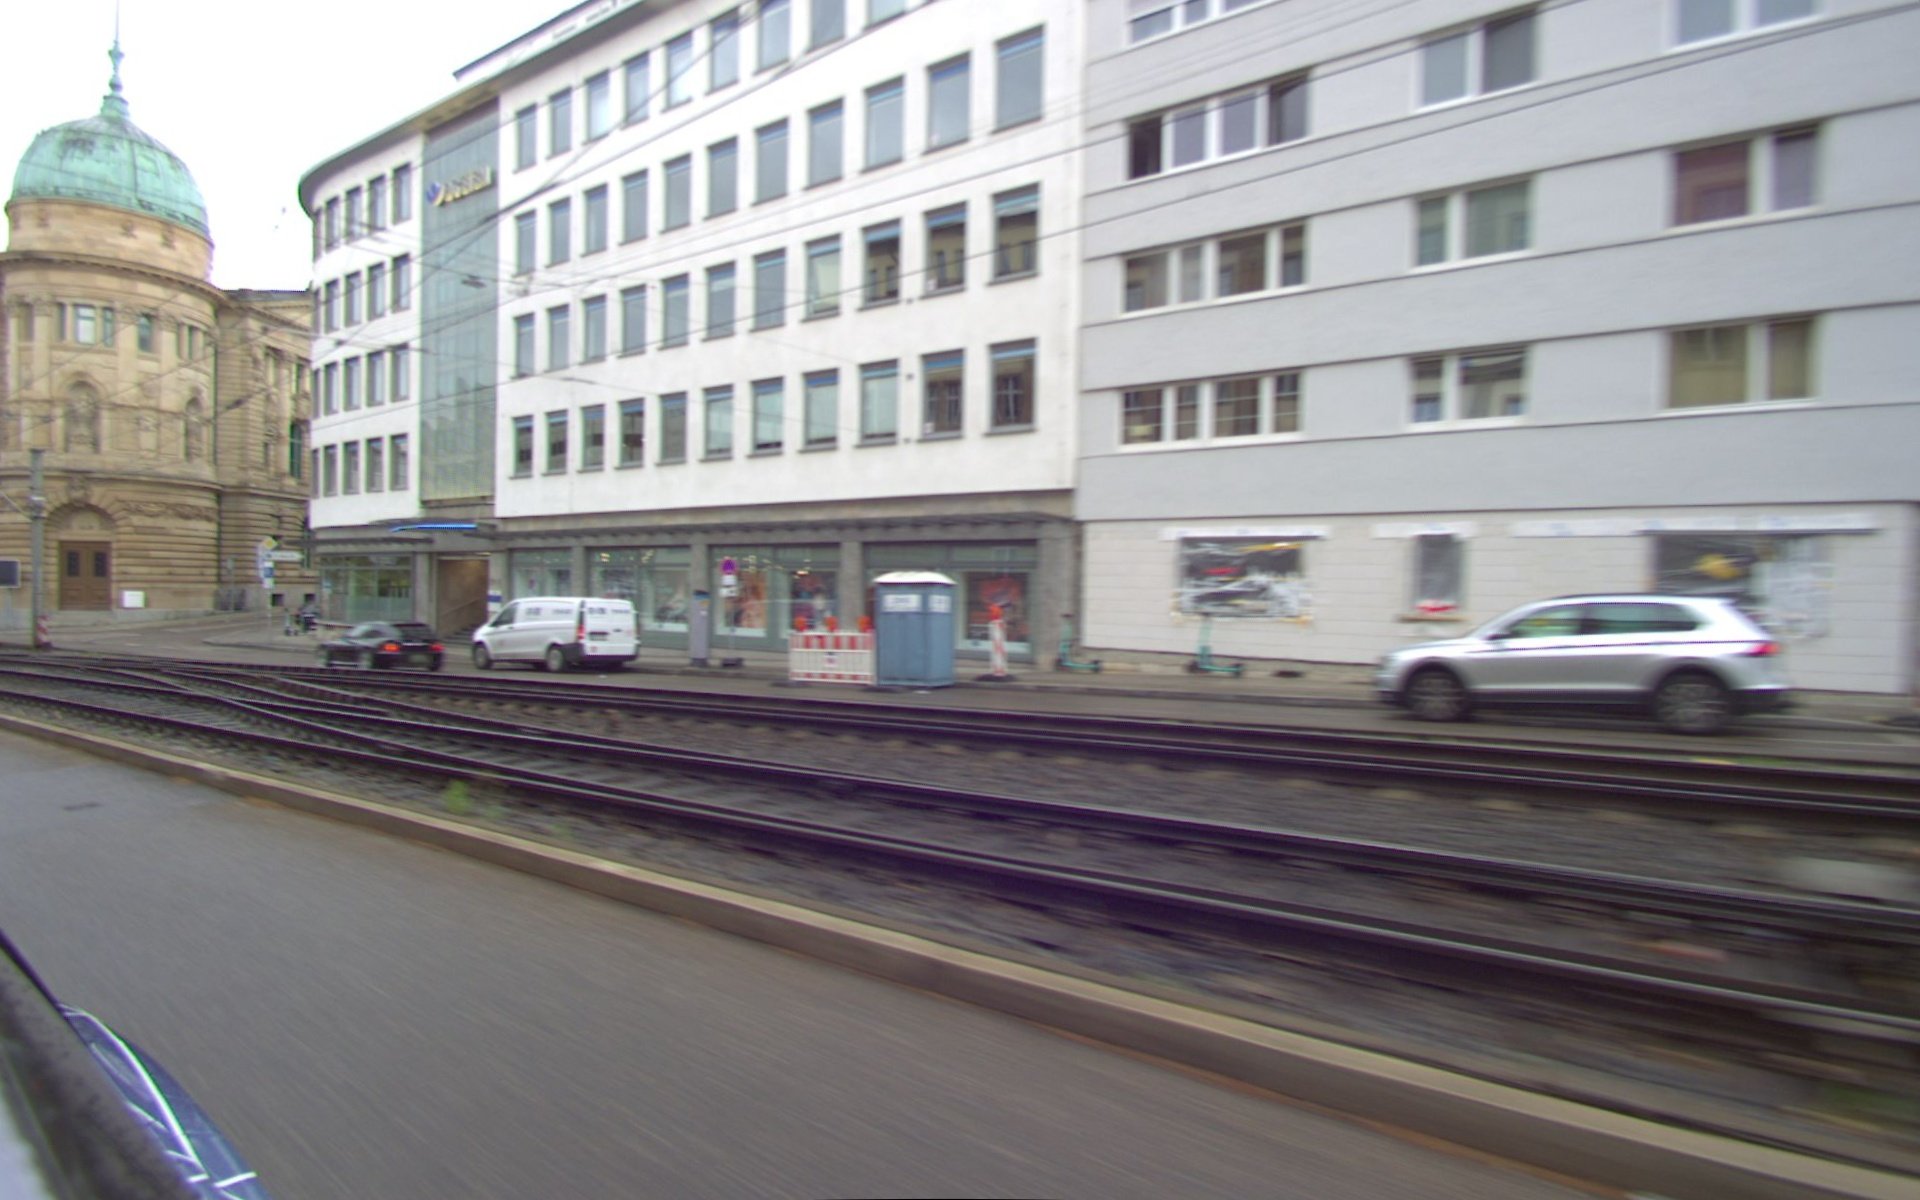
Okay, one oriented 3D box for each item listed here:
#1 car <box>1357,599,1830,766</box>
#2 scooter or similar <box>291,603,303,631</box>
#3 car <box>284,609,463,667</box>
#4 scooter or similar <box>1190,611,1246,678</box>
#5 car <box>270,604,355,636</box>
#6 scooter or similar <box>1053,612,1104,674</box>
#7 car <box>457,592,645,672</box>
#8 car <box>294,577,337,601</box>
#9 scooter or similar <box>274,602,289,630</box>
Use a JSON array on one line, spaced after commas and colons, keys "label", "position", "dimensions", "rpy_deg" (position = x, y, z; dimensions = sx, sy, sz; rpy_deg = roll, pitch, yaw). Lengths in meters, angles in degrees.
[{"label": "car", "position": [7.695, 0.918, 12.702], "dimensions": [4.686, 1.686, 1.976], "rpy_deg": [-2, 0, 36]}, {"label": "scooter or similar", "position": [-30.179, 0.749, 46.081], "dimensions": [0.404, 1.209, 1.565], "rpy_deg": [-1, 1, -32]}, {"label": "car", "position": [-14.579, 0.883, 25.078], "dimensions": [4.683, 1.265, 1.977], "rpy_deg": [0, -1, 34]}, {"label": "scooter or similar", "position": [4.877, 0.821, 19.144], "dimensions": [0.971, 1.212, 0.377], "rpy_deg": [0, 1, 35]}, {"label": "car", "position": [-32.400, 0.963, 50.792], "dimensions": [1.758, 1.408, 4.331], "rpy_deg": [0, 1, -4]}, {"label": "scooter or similar", "position": [2.436, 0.873, 20.831], "dimensions": [0.971, 1.212, 0.377], "rpy_deg": [0, 1, 35]}, {"label": "car", "position": [-10.613, 0.738, 26.147], "dimensions": [5.118, 1.856, 1.977], "rpy_deg": [0, 1, 34]}, {"label": "car", "position": [-44.643, -0.773, 70.073], "dimensions": [1.969, 1.652, 4.007], "rpy_deg": [-1, 1, -40]}, {"label": "scooter or similar", "position": [-30.723, 0.711, 45.812], "dimensions": [0.404, 1.209, 1.563], "rpy_deg": [-1, 1, -38]}]
